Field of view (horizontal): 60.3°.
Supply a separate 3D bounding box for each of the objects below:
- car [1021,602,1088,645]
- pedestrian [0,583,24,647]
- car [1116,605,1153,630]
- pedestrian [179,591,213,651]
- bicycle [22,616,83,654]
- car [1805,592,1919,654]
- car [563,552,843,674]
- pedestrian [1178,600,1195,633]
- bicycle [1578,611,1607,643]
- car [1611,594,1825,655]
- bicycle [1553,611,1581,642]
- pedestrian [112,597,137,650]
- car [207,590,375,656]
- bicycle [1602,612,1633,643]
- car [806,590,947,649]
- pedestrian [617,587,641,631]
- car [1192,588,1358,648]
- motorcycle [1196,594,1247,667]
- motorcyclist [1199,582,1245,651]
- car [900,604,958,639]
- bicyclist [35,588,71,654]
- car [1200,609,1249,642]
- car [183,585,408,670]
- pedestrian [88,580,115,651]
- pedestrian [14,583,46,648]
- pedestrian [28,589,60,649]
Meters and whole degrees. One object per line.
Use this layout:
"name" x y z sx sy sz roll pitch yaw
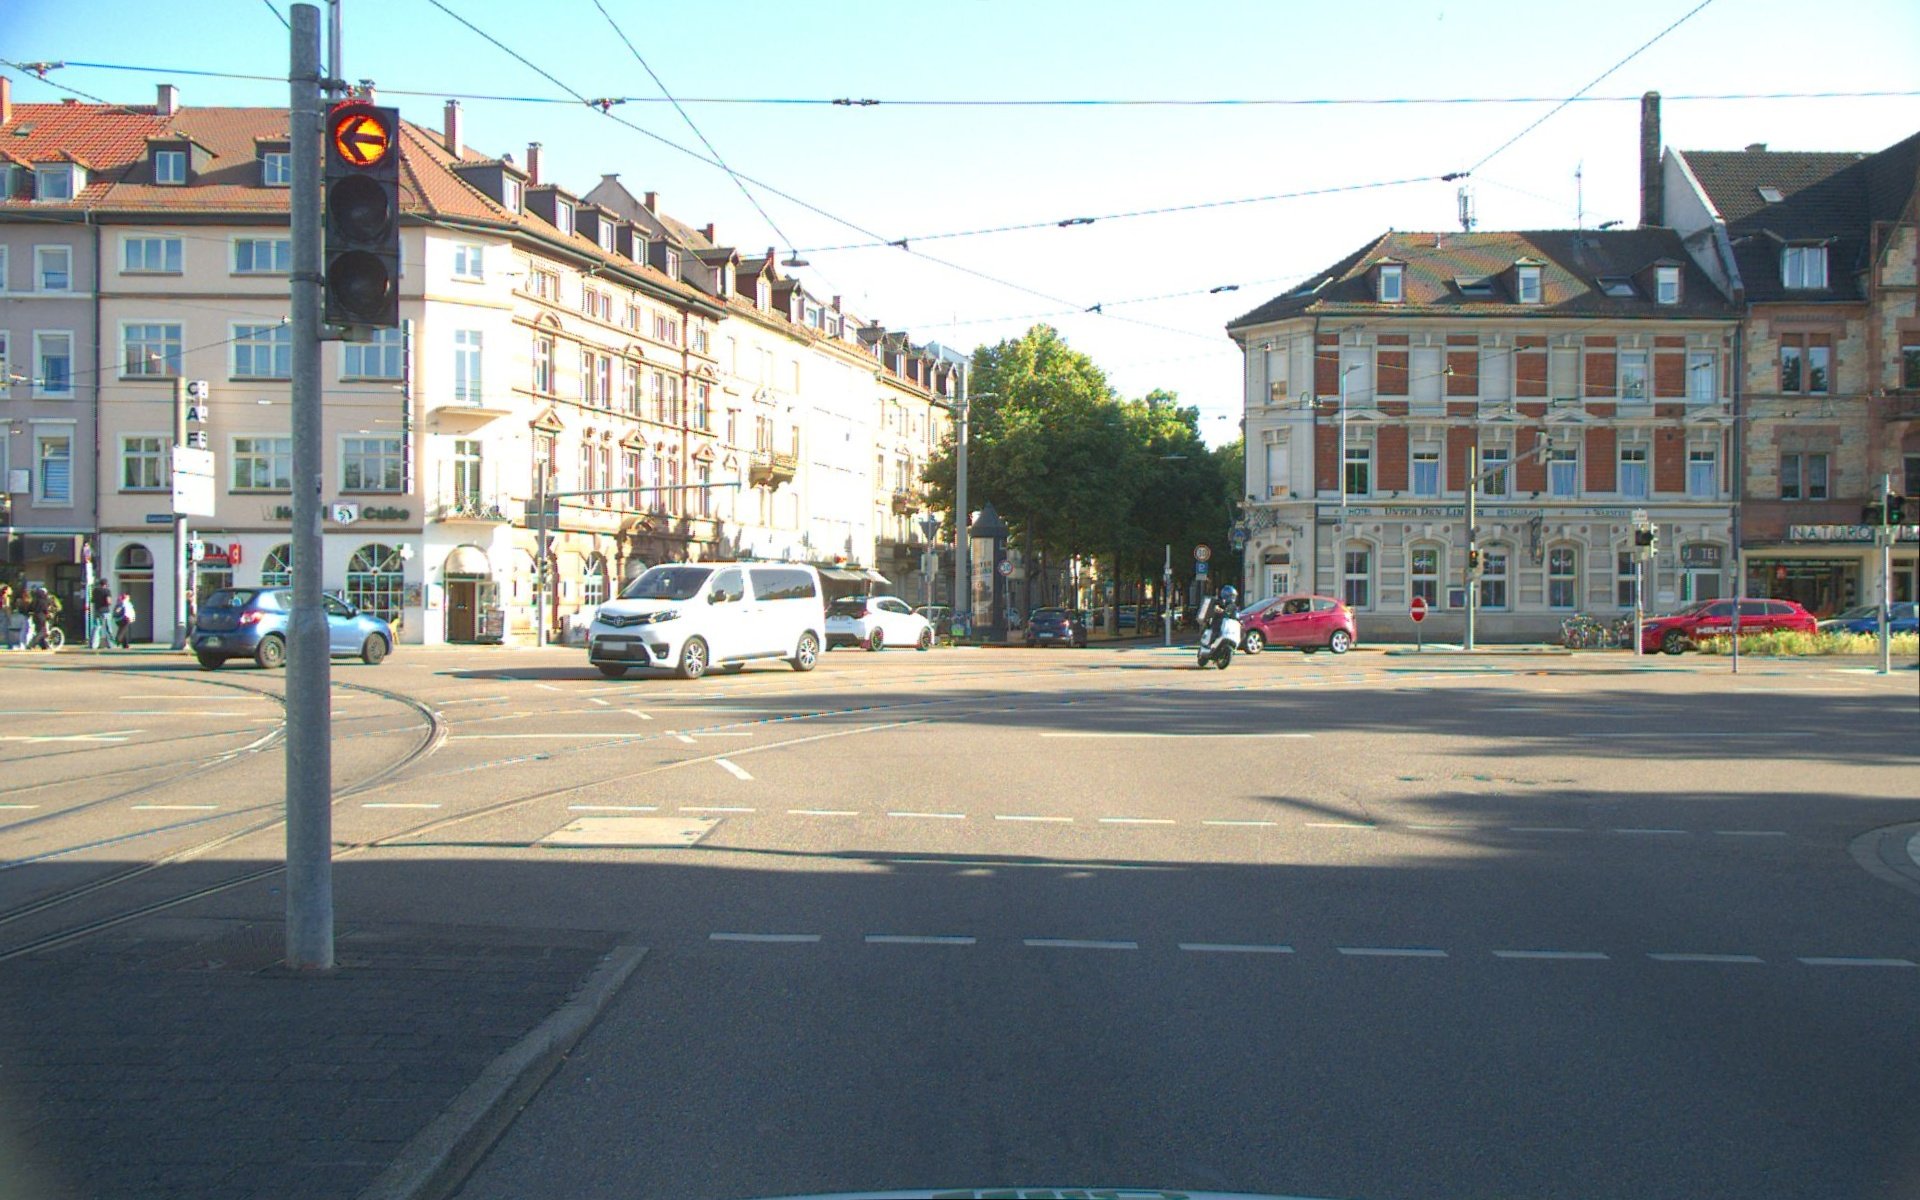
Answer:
"car" 3.362 0.802 58.493 1.786 1.428 4.003 0 0 12
"pedestrian" -24.820 0.389 43.132 0.512 1.677 0.497 1 -1 -1
"car" 12.333 1.221 116.771 1.951 1.713 4.003 1 0 15
"pedestrian" -21.797 0.587 47.210 0.571 1.677 0.840 1 -1 -1
"bicycle" -25.446 0.971 46.405 0.608 1.048 1.755 1 0 4
"car" 25.923 0.637 46.020 3.905 1.650 1.804 1 0 0
"car" -4.268 0.245 28.441 1.956 1.886 5.206 0 -1 30
"pedestrian" 14.218 1.017 103.825 0.925 2.049 0.825 1 -1 -5
"bicycle" 20.566 0.871 53.789 0.749 0.985 2.211 1 0 17
"car" 19.729 0.612 43.150 4.760 1.495 1.803 0 1 -1
"bicycle" 19.812 0.858 54.026 0.749 0.979 2.211 1 0 17
"pedestrian" -23.191 0.644 45.901 0.394 1.444 0.625 1 -1 -6
"car" -17.228 0.556 42.567 4.106 1.602 1.828 1 0 29
"bicycle" 21.345 0.884 53.696 0.749 1.001 2.211 1 0 17
"car" -2.205 0.498 44.739 1.858 1.479 3.999 0 1 32
"pedestrian" -12.710 0.342 63.536 0.556 1.671 0.792 1 -1 22
"car" 7.891 0.434 41.506 3.809 1.451 1.588 0 1 -18
"motorcycle" 5.087 0.577 32.278 0.777 1.357 2.143 1 0 4
"motorcyclist" 5.110 0.320 32.297 0.770 1.323 1.018 1 0 4
"car" -1.479 1.012 79.693 1.764 1.603 3.893 1 0 15
"bicyclist" -25.440 0.585 46.404 0.608 1.822 0.615 1 -1 4
"car" 13.254 1.274 82.628 1.719 1.583 4.001 1 0 20
"car" -12.704 0.491 31.863 1.749 1.530 3.917 -1 0 24
"pedestrian" -22.660 0.417 43.665 0.520 1.854 0.672 1 -1 -22
"pedestrian" -24.269 0.397 43.154 0.512 1.677 0.497 1 -1 -1
"pedestrian" -23.673 0.490 42.763 0.481 1.518 0.556 1 -1 -1
